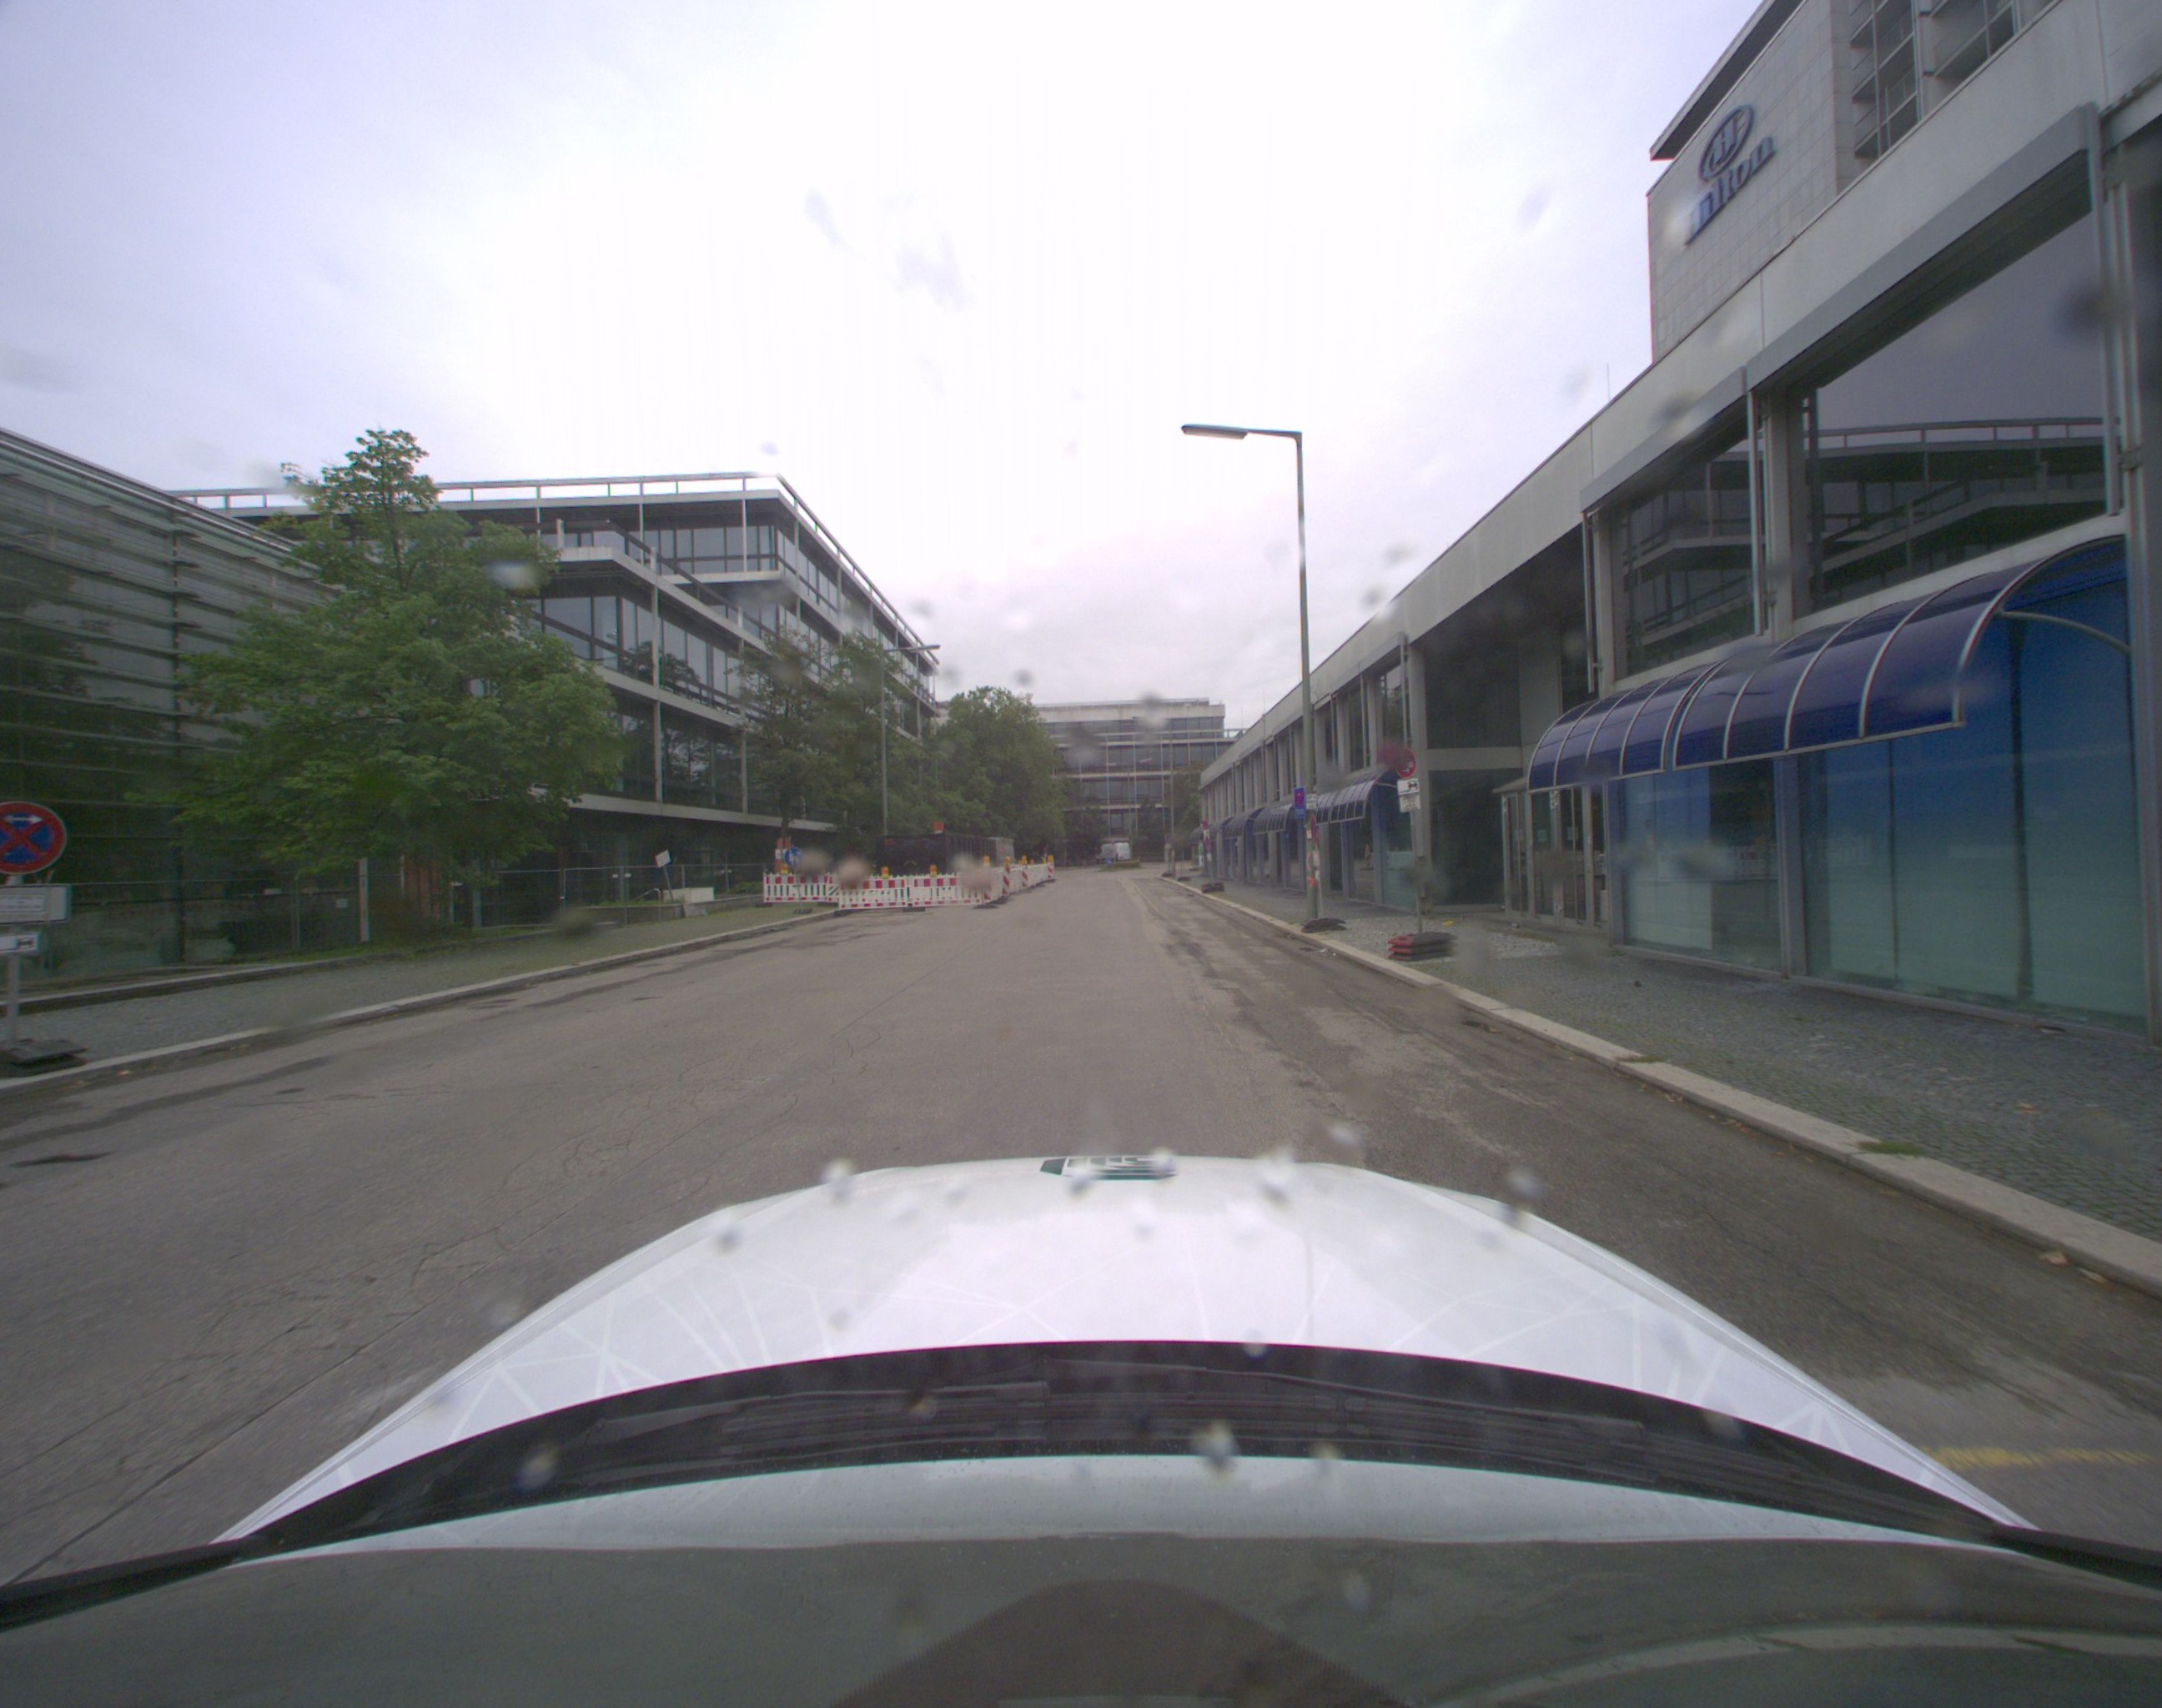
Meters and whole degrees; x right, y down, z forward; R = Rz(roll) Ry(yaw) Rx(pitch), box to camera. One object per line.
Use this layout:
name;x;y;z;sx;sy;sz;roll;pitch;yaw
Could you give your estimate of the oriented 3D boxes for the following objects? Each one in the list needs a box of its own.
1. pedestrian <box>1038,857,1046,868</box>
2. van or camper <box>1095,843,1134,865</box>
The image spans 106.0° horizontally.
pedestrian;-4.895;1.071;101.881;0.922;1.278;0.542;-1;0;3
van or camper;4.211;0.048;103.830;2.166;2.581;6.486;-1;-2;-24
